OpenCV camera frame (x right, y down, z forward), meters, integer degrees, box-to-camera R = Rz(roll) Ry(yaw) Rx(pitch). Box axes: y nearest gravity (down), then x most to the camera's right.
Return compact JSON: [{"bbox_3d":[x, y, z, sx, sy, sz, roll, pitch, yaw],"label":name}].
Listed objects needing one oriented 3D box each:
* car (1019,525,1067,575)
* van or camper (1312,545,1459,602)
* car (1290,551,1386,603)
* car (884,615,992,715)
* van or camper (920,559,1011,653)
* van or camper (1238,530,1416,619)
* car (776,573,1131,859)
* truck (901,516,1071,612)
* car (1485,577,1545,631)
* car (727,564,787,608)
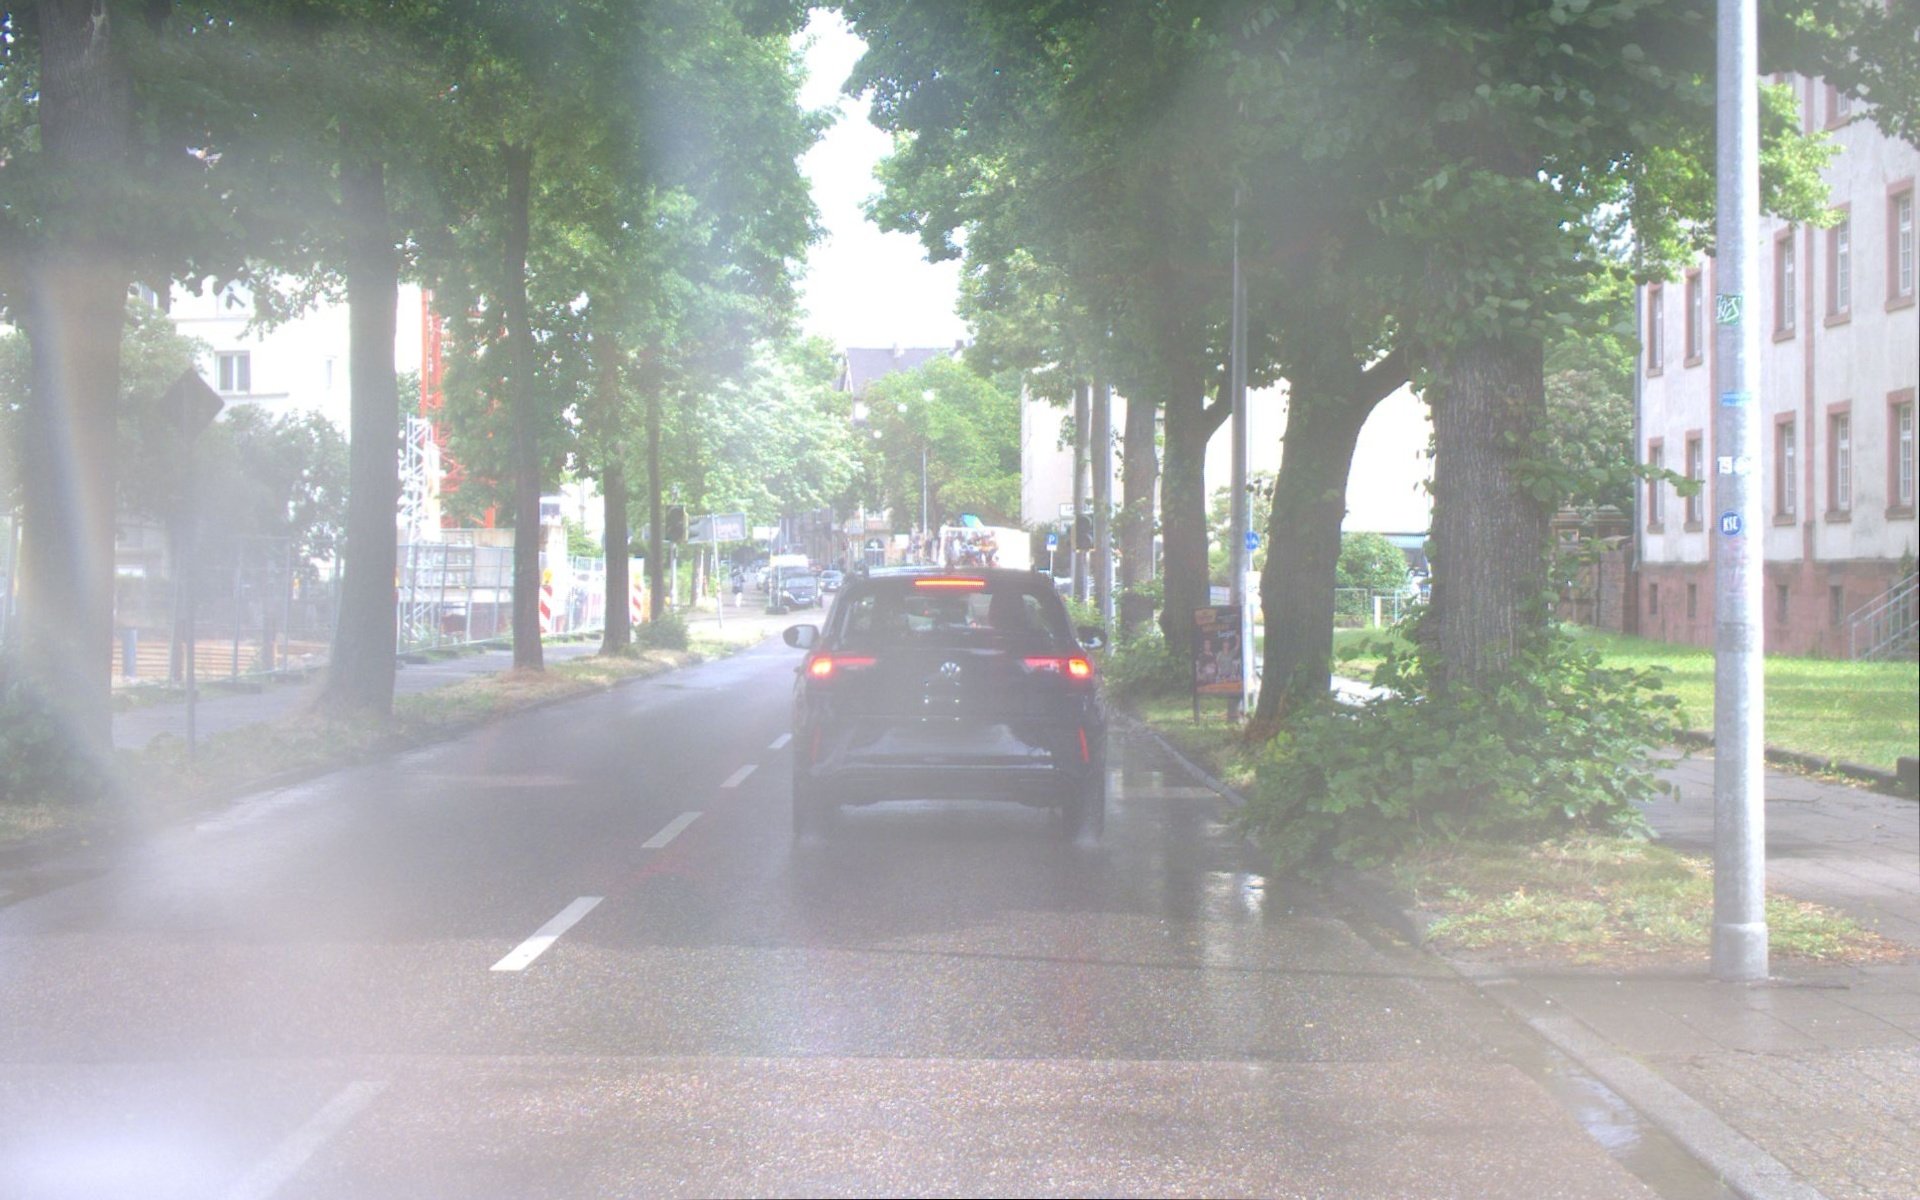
[{"bbox_3d":[3.557,-2.132,147.986,1.993,2.007,4.000,-1,0,1],"label":"car"},{"bbox_3d":[14.782,-0.933,119.612,4.875,1.919,2.131,1,1,1],"label":"van or camper"},{"bbox_3d":[14.224,-0.856,129.356,3.408,1.775,1.759,-3,0,9],"label":"car"},{"bbox_3d":[-0.374,1.170,63.198,1.680,1.702,3.909,-2,0,3],"label":"car"},{"bbox_3d":[0.149,0.098,73.825,1.819,1.941,4.195,1,1,2],"label":"van or camper"},{"bbox_3d":[10.904,-0.752,102.482,5.032,2.587,2.168,0,0,-1],"label":"van or camper"},{"bbox_3d":[-0.010,0.608,20.515,1.895,1.517,4.000,1,0,1],"label":"car"},{"bbox_3d":[0.663,-1.104,99.708,2.804,2.647,8.243,0,1,-15],"label":"truck"},{"bbox_3d":[18.621,0.128,115.422,1.743,1.678,3.869,-3,0,6],"label":"car"},{"bbox_3d":[-7.570,-0.537,128.433,1.591,1.507,3.731,-3,1,6],"label":"car"}]
